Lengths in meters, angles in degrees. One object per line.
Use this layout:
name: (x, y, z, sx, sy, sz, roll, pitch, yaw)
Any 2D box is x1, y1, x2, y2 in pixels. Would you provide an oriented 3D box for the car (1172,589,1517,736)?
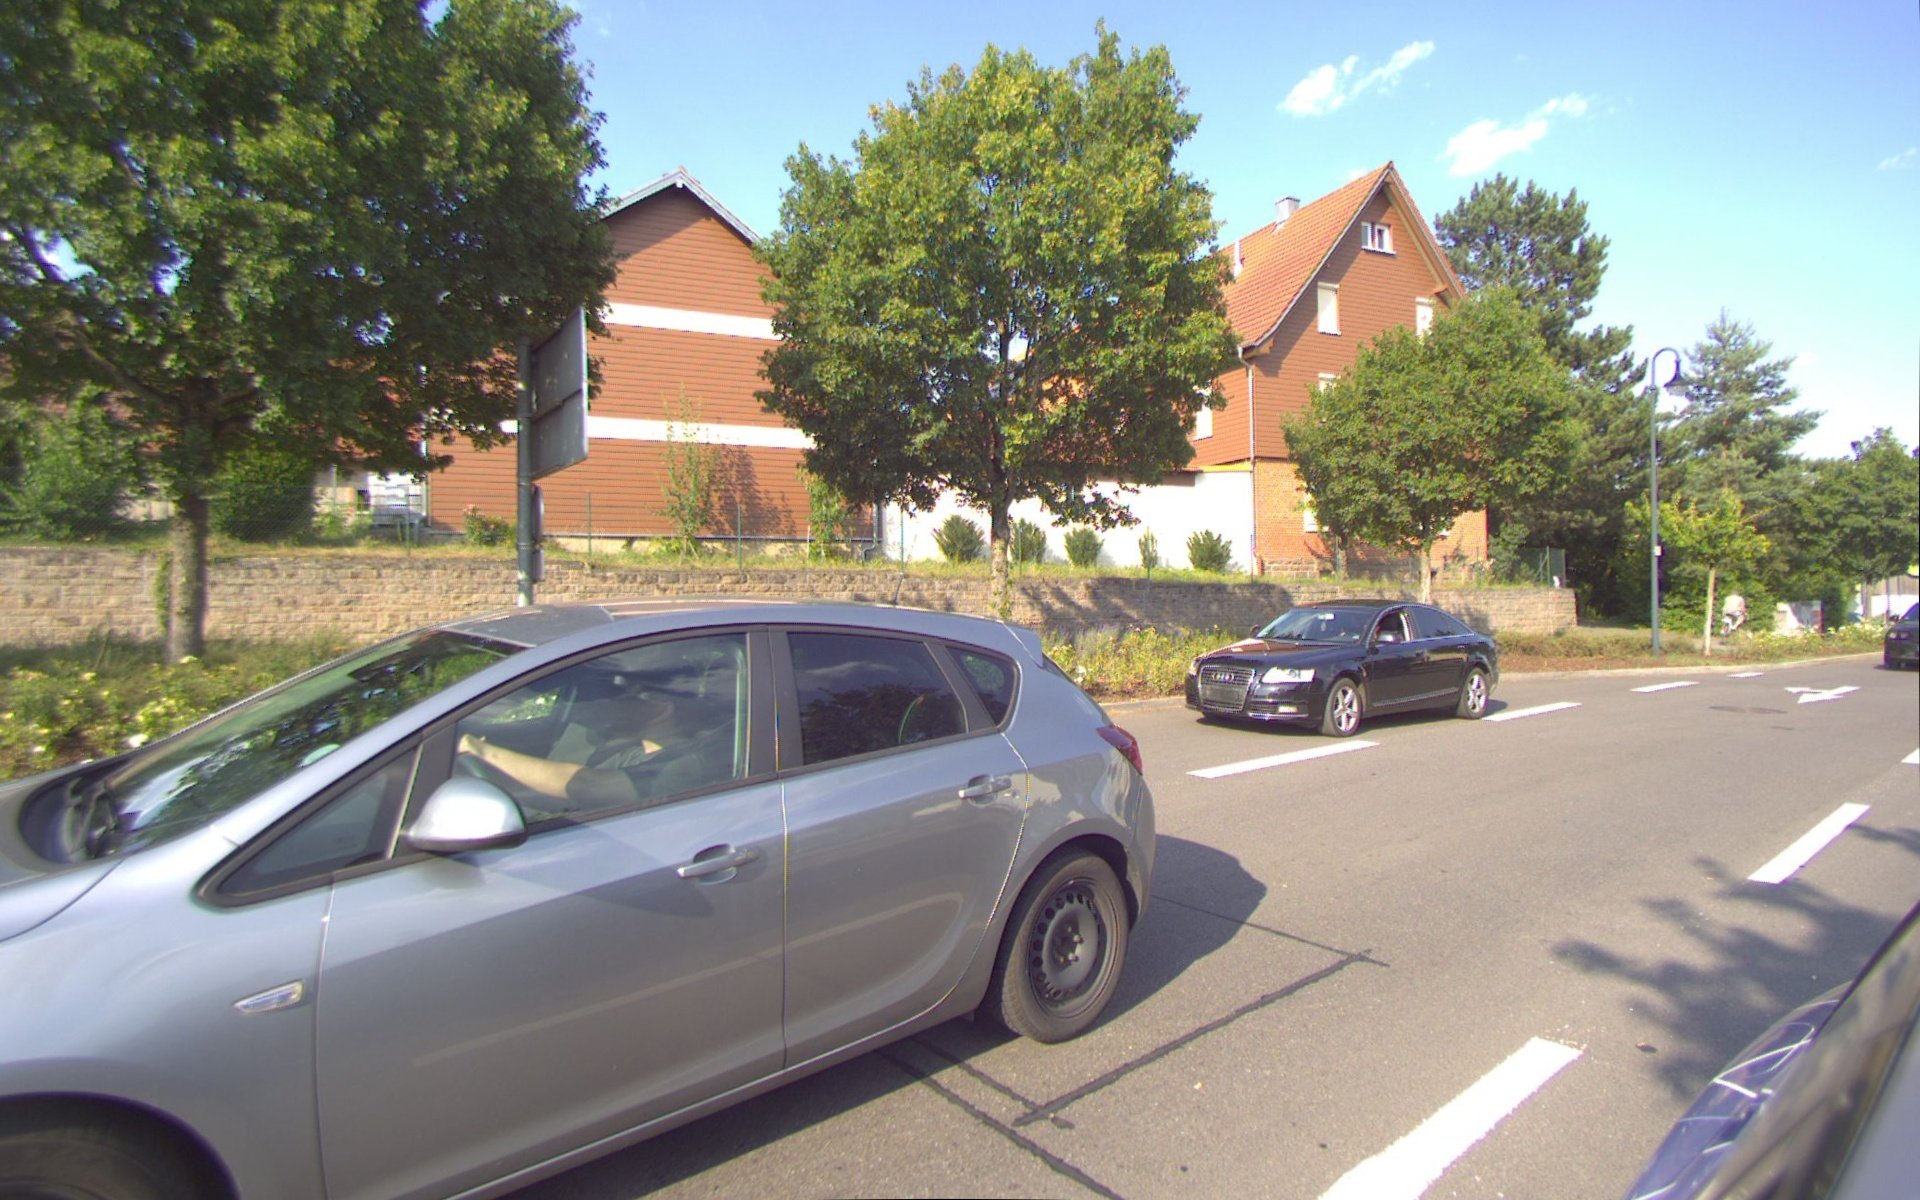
car: (4.690, 0.602, 12.045, 4.504, 1.453, 1.686, 0, 0, -36)

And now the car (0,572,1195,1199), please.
car: (-1.231, 0.674, 3.019, 4.095, 1.460, 1.746, 0, 0, -42)

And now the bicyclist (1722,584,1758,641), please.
bicyclist: (23.872, 0.376, 30.970, 0.719, 1.699, 0.605, 0, 0, -28)

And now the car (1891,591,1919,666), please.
car: (22.776, 0.608, 23.019, 4.055, 1.629, 1.885, 0, 0, -40)

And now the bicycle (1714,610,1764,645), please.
bicycle: (23.808, 0.828, 30.921, 1.838, 1.031, 0.523, 0, 0, -29)
